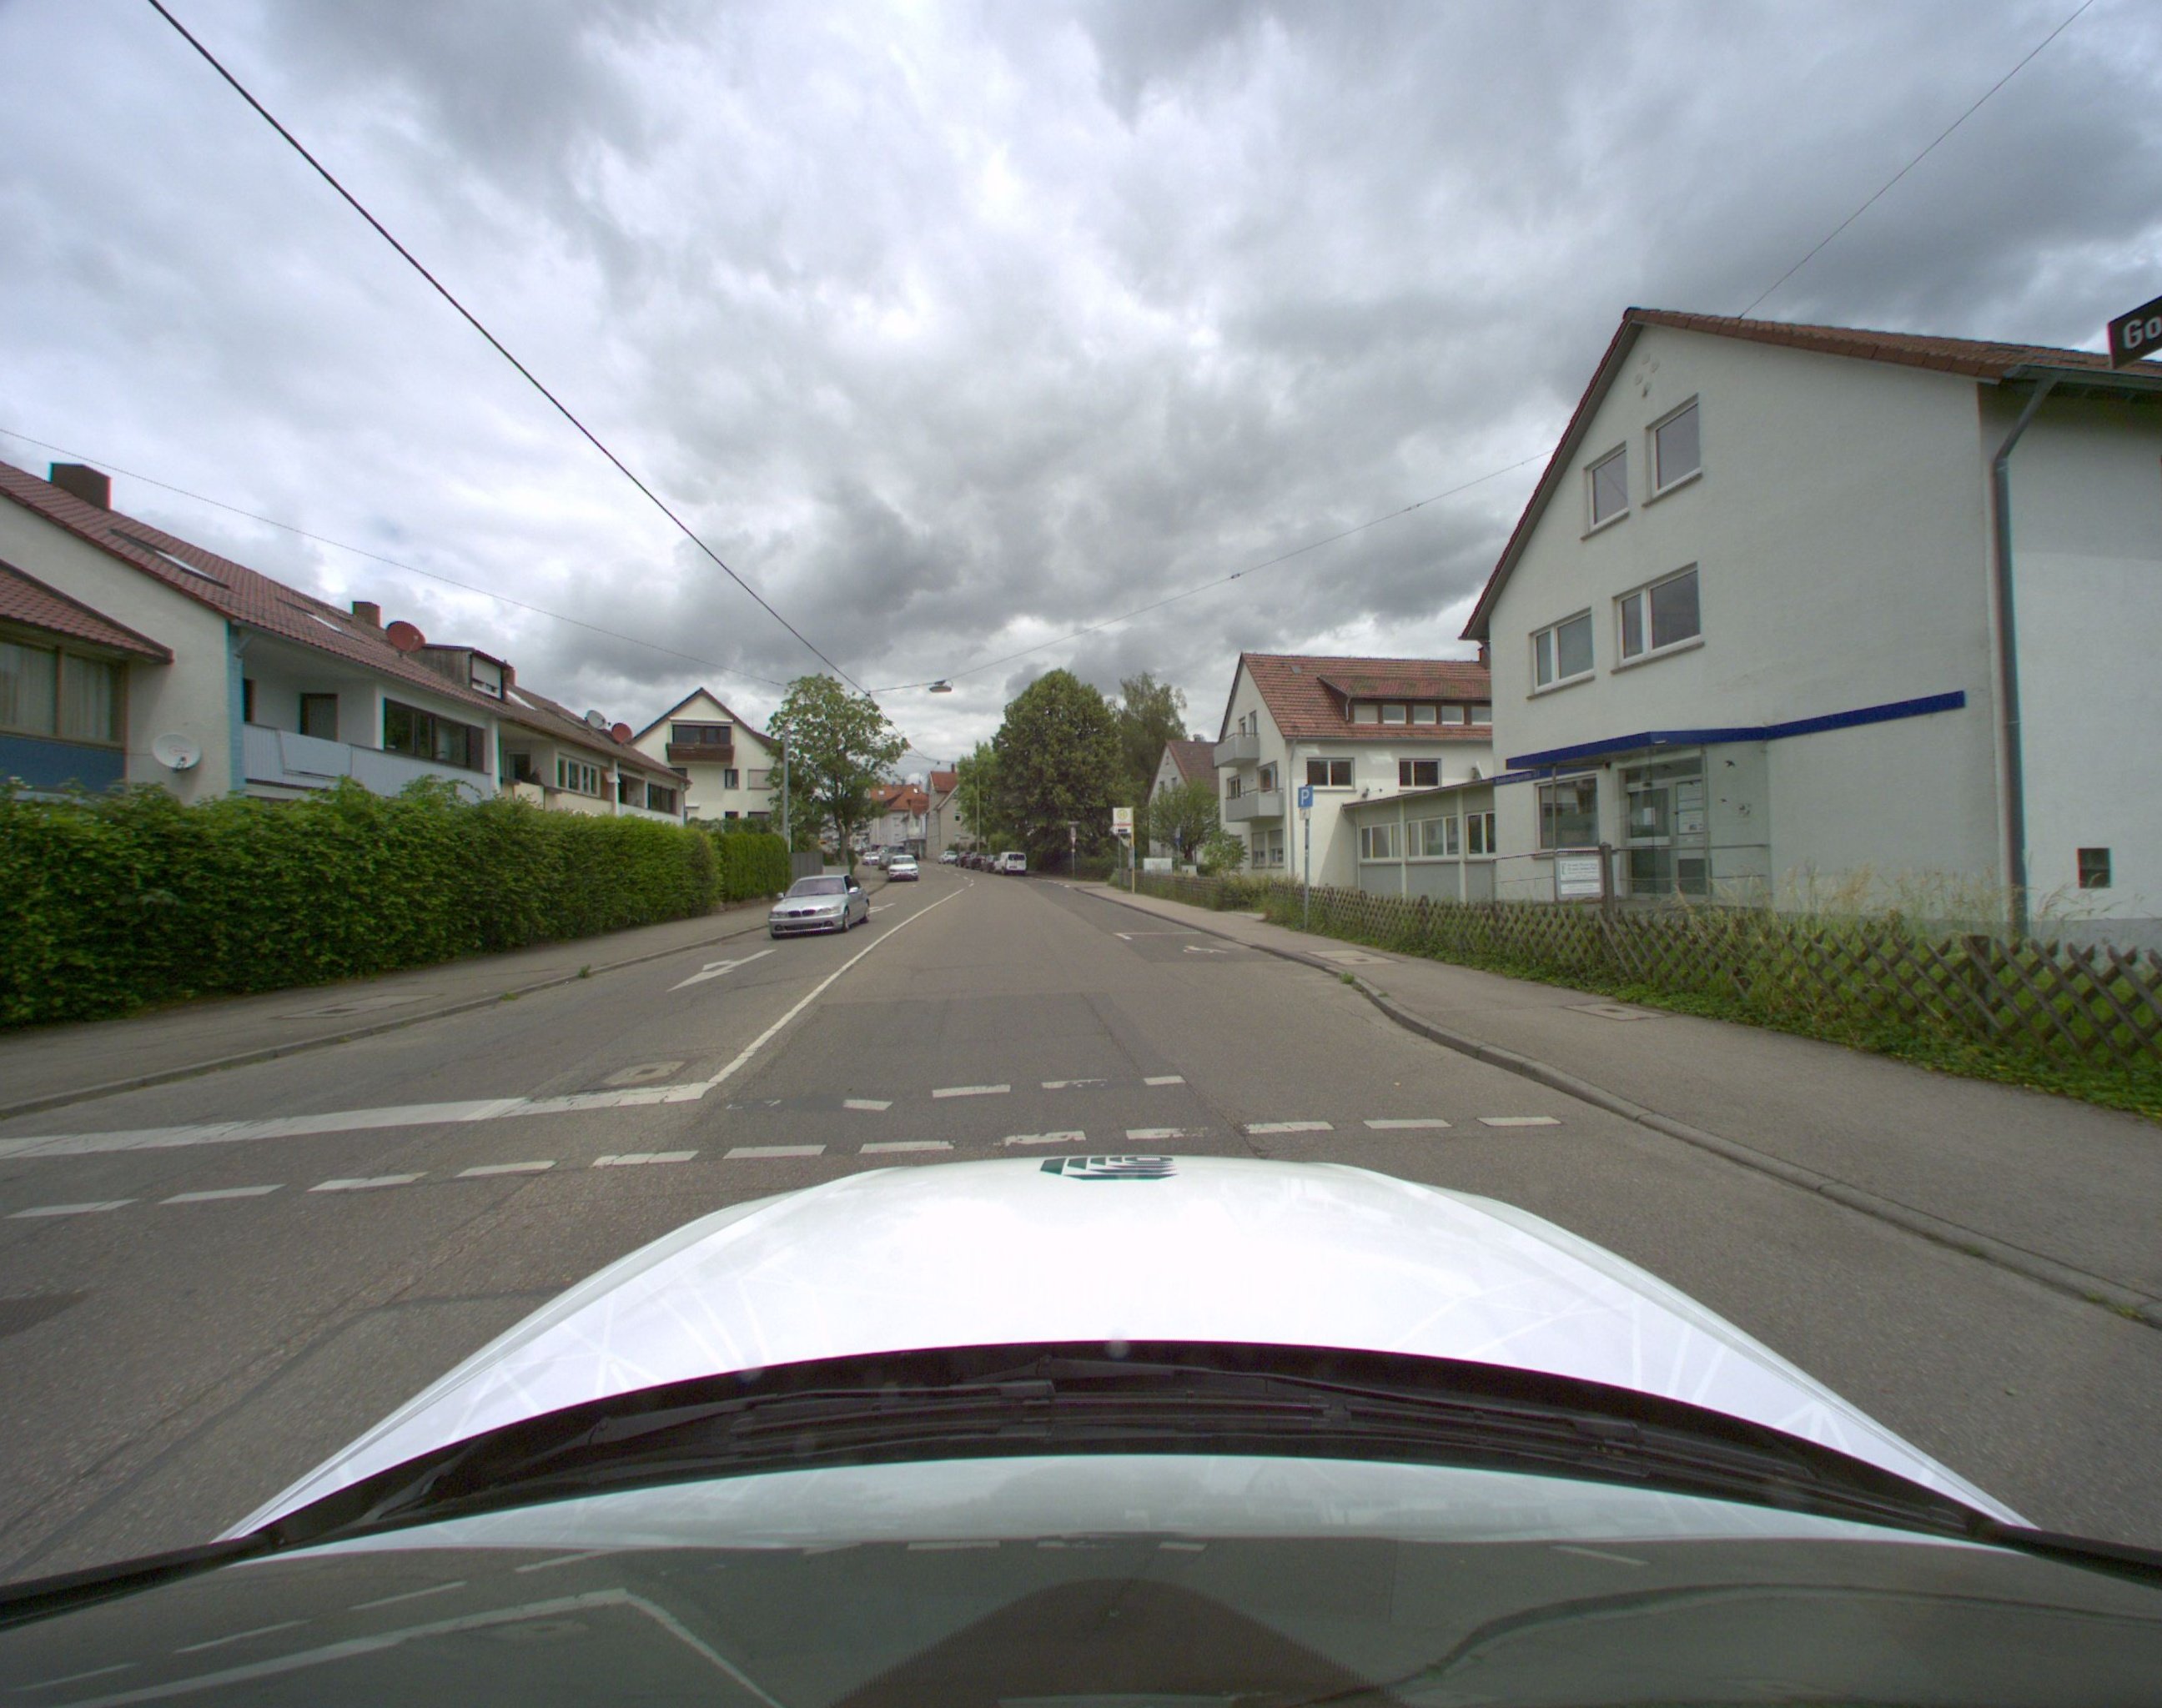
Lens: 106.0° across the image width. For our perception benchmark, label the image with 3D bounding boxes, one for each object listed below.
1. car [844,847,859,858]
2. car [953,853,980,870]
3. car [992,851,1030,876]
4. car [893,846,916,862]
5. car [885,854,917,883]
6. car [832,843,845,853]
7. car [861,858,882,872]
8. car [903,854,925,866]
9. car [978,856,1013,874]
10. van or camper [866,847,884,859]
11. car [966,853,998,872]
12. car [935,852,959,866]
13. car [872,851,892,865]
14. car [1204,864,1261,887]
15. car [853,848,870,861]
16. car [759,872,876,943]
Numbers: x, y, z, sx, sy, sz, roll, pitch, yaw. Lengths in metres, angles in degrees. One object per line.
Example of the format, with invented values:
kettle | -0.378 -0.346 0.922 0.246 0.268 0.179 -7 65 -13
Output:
car | -43.511 -0.330 154.645 2.162 2.013 3.968 1 0 -24
car | -11.339 0.722 80.246 1.816 1.615 4.510 2 -1 -19
car | -5.504 0.741 63.281 1.844 1.774 4.288 2 0 -20
car | -23.020 -0.064 105.964 2.162 2.013 3.968 1 0 -24
car | -11.770 0.909 53.212 1.852 1.714 4.554 -2 0 -13
car | -51.004 -1.337 171.052 2.162 2.013 3.968 1 0 -24
car | -23.650 1.212 91.789 1.732 1.458 3.871 -4 1 -21
car | -23.535 0.852 114.672 2.002 1.518 4.854 2 0 -23
car | -7.225 0.915 68.380 1.999 1.478 4.591 0 0 -19
van or camper | -36.255 -0.183 143.180 2.002 2.066 5.899 3 0 -23
car | -9.156 0.770 74.815 1.999 1.615 4.510 2 -1 -19
car | -14.998 0.522 90.965 1.947 1.439 3.973 1 0 -20
car | -29.613 0.544 120.981 2.162 2.013 3.968 1 0 -24
car | 10.784 1.572 58.104 3.712 1.564 1.675 2 -3 -22
car | -36.805 0.075 136.337 2.162 2.013 3.968 1 0 -24
car | -6.323 1.218 19.999 1.710 1.354 4.076 -6 0 -5
